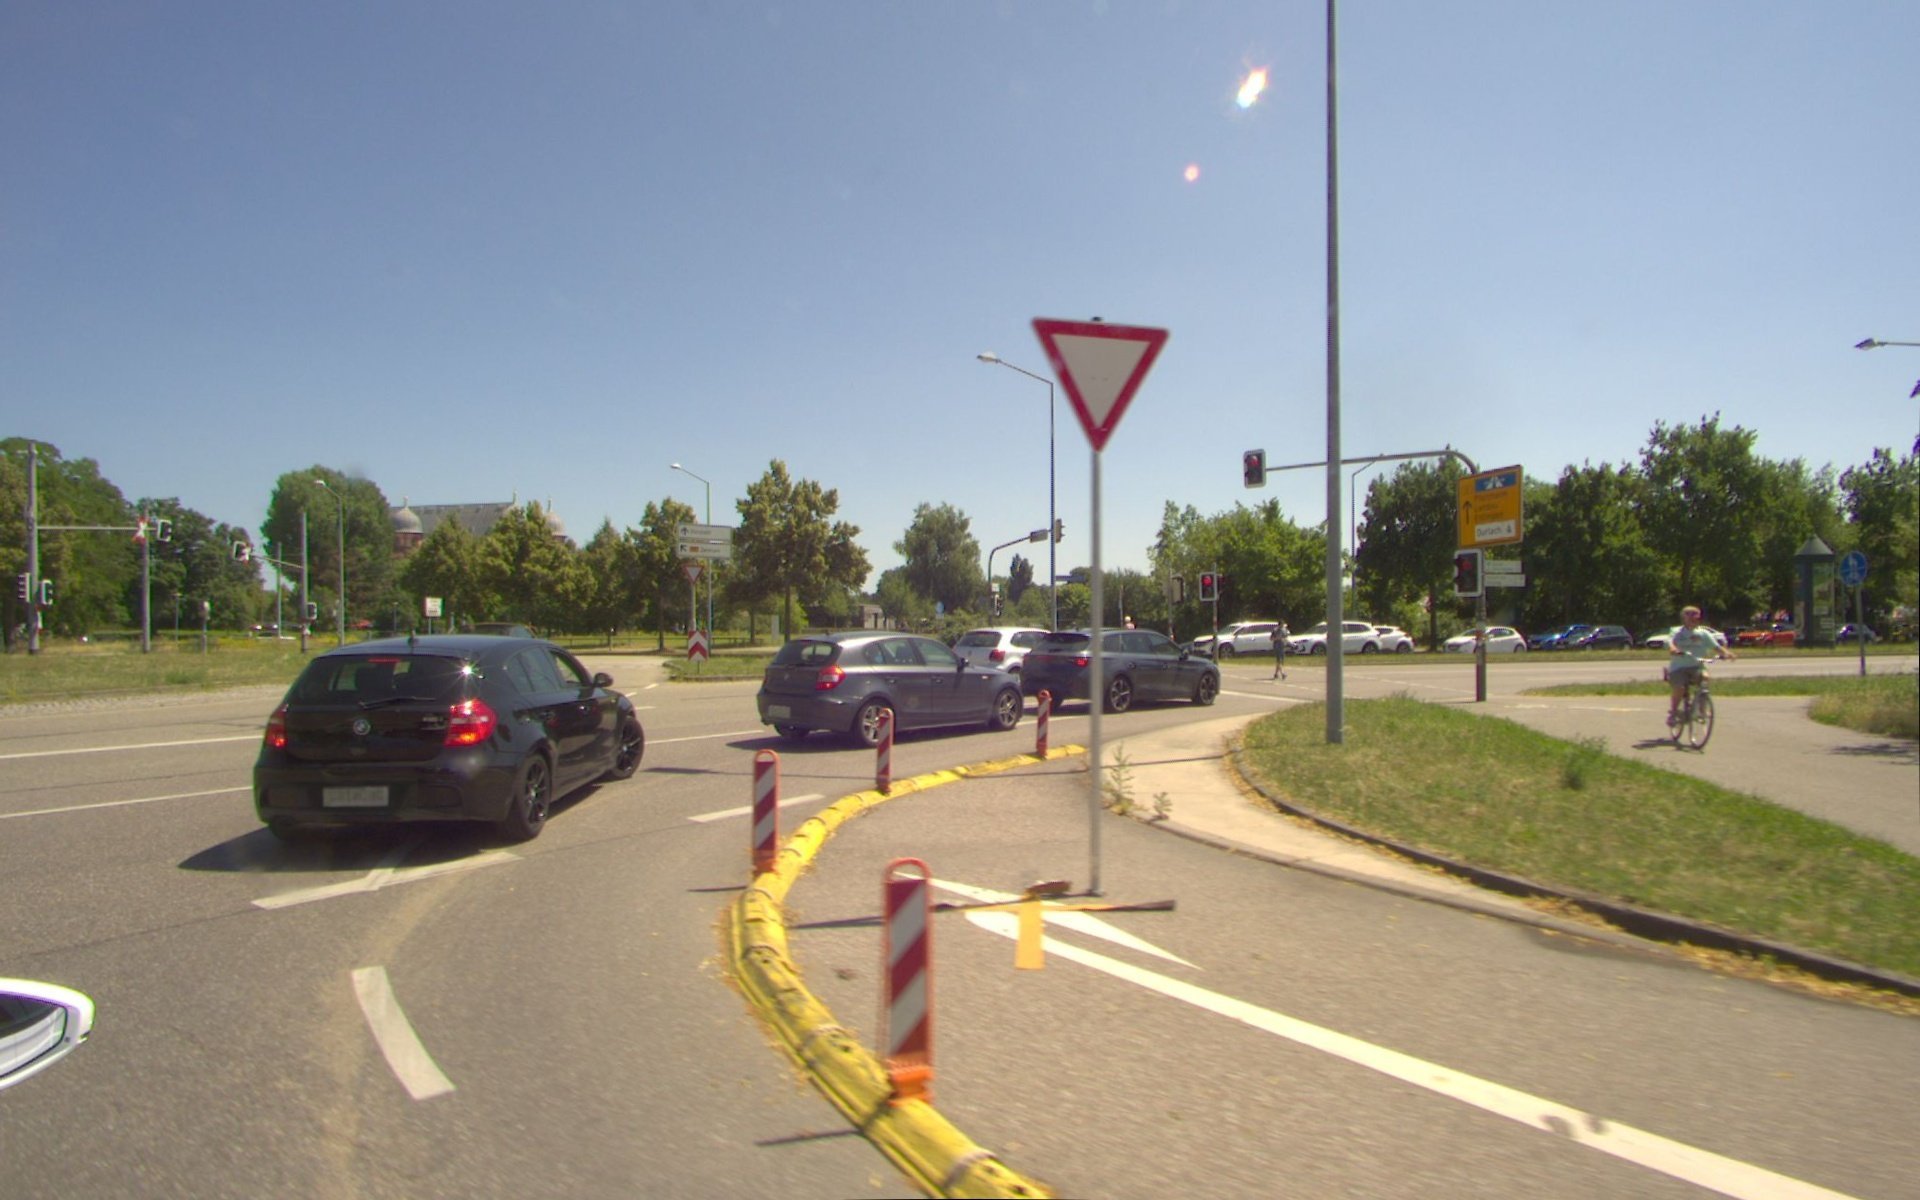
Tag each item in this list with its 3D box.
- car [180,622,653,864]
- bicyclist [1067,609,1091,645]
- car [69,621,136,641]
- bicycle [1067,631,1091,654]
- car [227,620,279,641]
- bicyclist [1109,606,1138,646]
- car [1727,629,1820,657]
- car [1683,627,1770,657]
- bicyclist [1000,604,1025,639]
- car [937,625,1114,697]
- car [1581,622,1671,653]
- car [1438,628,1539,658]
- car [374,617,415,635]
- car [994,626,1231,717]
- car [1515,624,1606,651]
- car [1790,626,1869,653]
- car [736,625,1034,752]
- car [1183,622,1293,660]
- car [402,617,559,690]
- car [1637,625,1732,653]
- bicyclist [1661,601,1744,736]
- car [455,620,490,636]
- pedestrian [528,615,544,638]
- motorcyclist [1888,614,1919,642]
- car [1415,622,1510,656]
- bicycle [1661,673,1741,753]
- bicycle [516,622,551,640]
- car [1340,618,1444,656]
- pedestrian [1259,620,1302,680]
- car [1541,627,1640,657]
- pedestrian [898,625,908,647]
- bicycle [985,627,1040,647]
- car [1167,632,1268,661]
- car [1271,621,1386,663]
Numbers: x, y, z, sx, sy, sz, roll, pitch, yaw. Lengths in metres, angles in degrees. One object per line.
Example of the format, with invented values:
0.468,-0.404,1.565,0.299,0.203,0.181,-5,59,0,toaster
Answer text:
-3.931,0.923,8.127,1.768,1.459,4.001,1,-1,-2,car
5.253,1.193,44.094,0.941,1.551,1.186,0,0,2,bicyclist
-74.079,2.691,86.550,3.936,1.593,1.994,1,-3,-24,car
5.227,1.865,44.151,0.881,0.912,1.762,1,0,2,bicycle
-72.273,3.131,102.419,3.933,2.038,1.996,1,-3,-21,car
6.824,1.092,41.933,0.941,1.630,1.186,0,-2,-4,bicyclist
44.600,2.336,54.912,4.331,1.441,1.861,1,-1,-17,car
44.488,2.438,58.125,4.331,1.705,1.861,0,-1,-17,car
2.581,1.061,48.917,0.968,1.634,0.750,-2,-3,43,bicyclist
1.520,1.271,22.096,1.764,1.441,3.964,-1,-1,44,car
36.992,2.068,55.605,4.331,1.705,1.861,0,-1,-17,car
25.670,2.065,48.656,4.331,1.441,1.861,1,-1,-17,car
-66.557,3.058,117.963,3.933,2.038,1.996,1,-3,-21,car
2.893,1.216,18.408,4.408,1.436,1.982,1,-1,-42,car
32.599,2.013,54.366,4.331,1.441,1.861,1,-1,-17,car
49.216,2.262,56.689,3.732,1.493,1.718,1,-3,-19,car
-0.876,1.075,13.620,1.732,1.421,4.050,0,-1,40,car
12.175,1.781,43.919,4.331,1.639,1.861,0,-1,-17,car
-10.223,1.133,21.667,1.796,1.420,3.663,1,-2,-3,car
38.220,2.045,52.851,4.331,1.441,1.861,1,-1,-17,car
9.631,0.862,13.020,0.737,1.661,1.157,0,-1,31,bicyclist
-64.595,3.702,132.810,3.933,2.038,1.996,1,-3,-21,car
-28.144,1.762,66.514,0.803,1.468,0.709,1,-2,-11,pedestrian
54.695,1.648,58.066,0.992,1.606,0.908,1,-2,-16,motorcyclist
26.199,2.016,52.237,4.331,1.705,1.861,0,-1,-17,car
9.531,1.419,12.933,0.619,0.890,1.868,-1,-2,30,bicycle
-28.304,2.076,66.511,2.020,1.129,0.729,1,-2,-11,bicycle
20.151,1.700,46.755,4.331,1.705,1.861,0,-1,-17,car
9.055,1.410,28.303,0.744,1.658,0.955,1,-2,-17,pedestrian
31.842,2.093,50.602,4.331,1.441,1.861,1,-1,-17,car
-4.443,2.818,78.261,0.564,1.752,0.675,0,-2,14,pedestrian
2.552,1.824,48.923,2.899,0.923,0.734,-3,-4,44,bicycle
12.183,2.175,47.446,4.331,1.286,1.861,1,-1,-17,car
15.547,1.767,42.265,4.331,1.705,1.861,0,-1,-17,car
